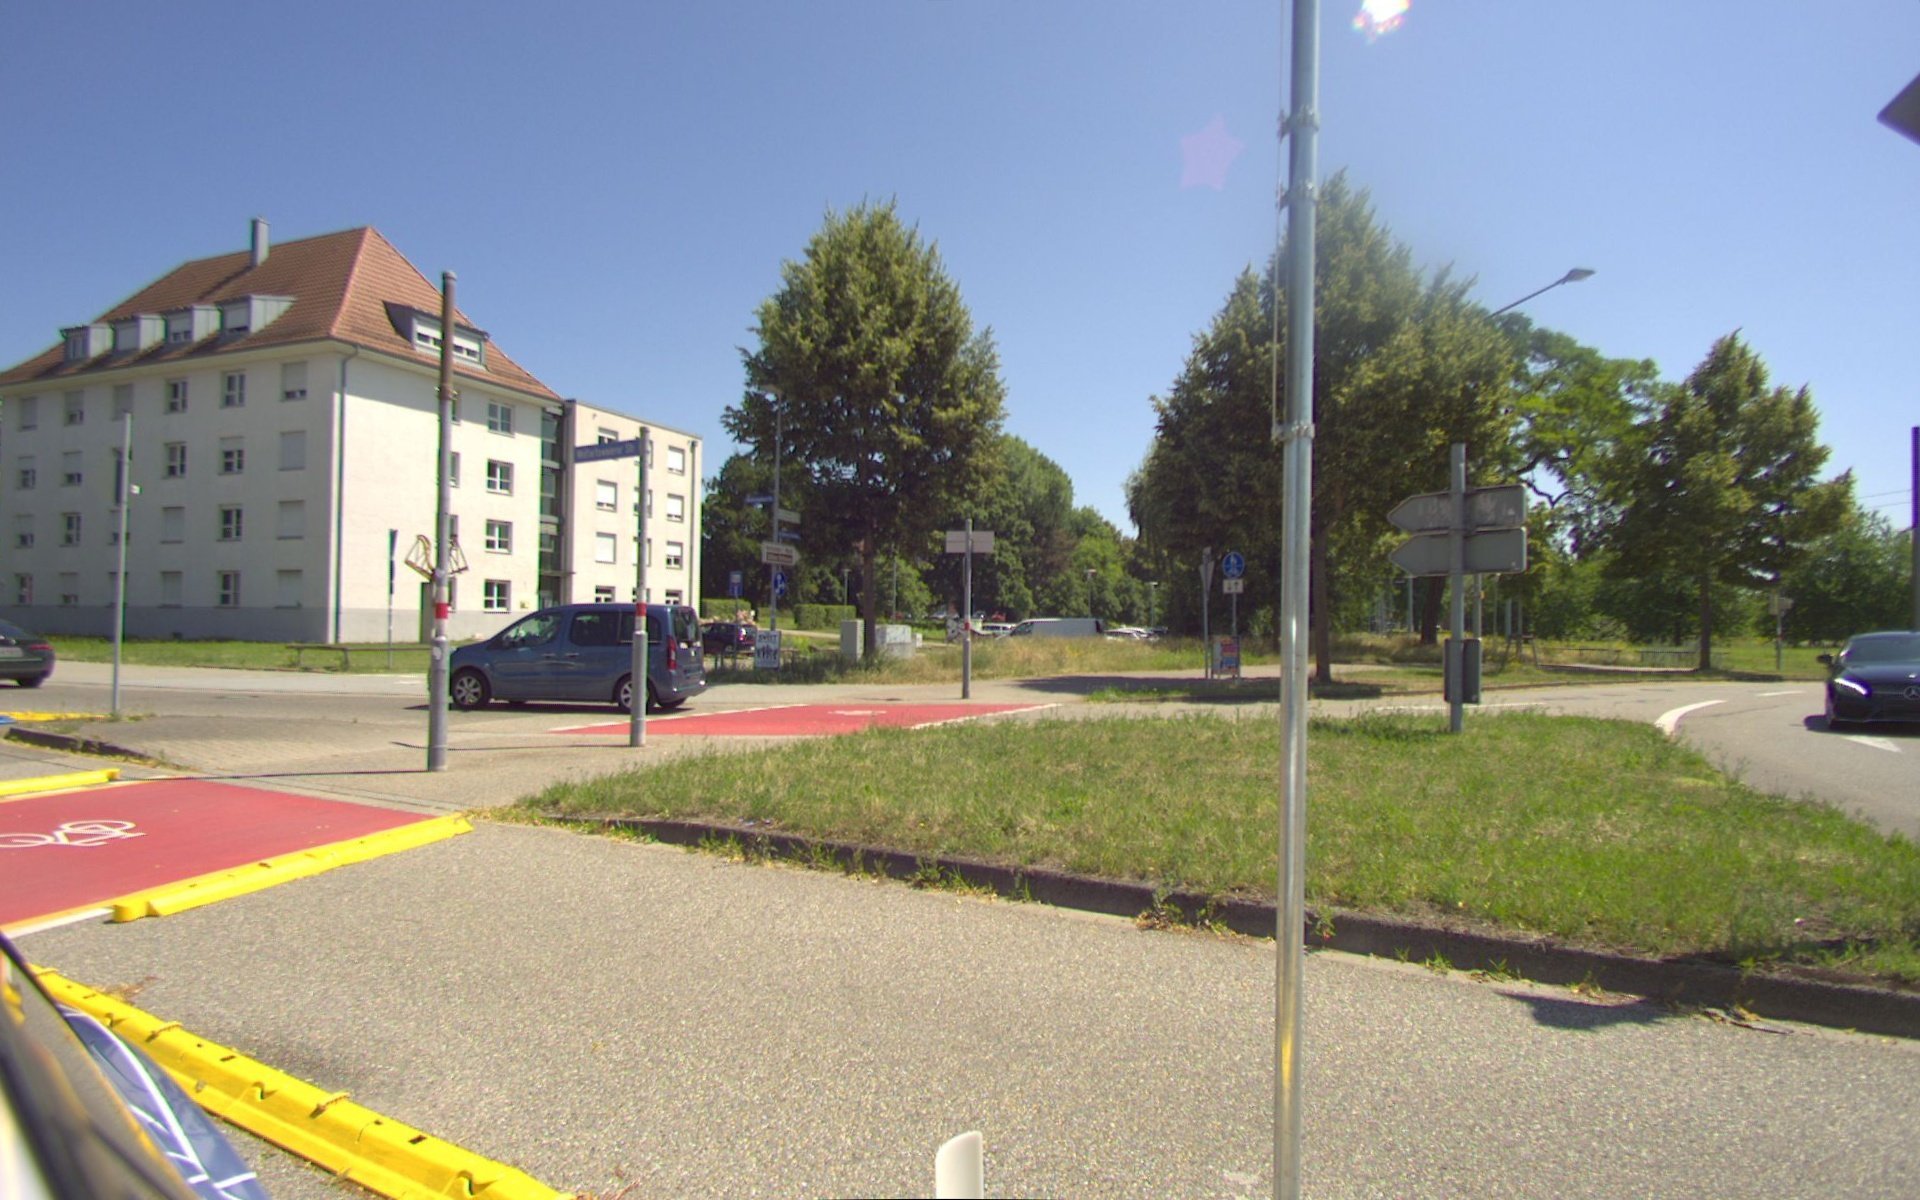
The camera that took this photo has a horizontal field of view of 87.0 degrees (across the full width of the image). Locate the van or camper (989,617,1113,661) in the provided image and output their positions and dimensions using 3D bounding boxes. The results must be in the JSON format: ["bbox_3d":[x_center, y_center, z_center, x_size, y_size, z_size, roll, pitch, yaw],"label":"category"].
[{"bbox_3d":[4.118,1.735,45.718,5.237,1.871,1.985,0,-2,22],"label":"van or camper"}]

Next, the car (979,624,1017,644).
[{"bbox_3d":[2.721,2.425,72.099,2.518,1.368,1.073,0,-2,30],"label":"car"}]

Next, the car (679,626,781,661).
[{"bbox_3d":[-9.342,1.755,41.123,3.783,1.337,1.647,0,-2,23],"label":"car"}]

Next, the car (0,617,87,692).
[{"bbox_3d":[-20.077,1.044,20.337,4.580,1.423,1.713,0,-2,18],"label":"car"}]

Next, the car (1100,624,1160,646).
[{"bbox_3d":[10.344,2.128,61.496,3.370,1.291,1.343,0,-2,30],"label":"car"}]

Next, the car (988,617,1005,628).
[{"bbox_3d":[4.905,2.992,136.289,1.467,1.427,3.010,0,-1,18],"label":"car"}]

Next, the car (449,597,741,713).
[{"bbox_3d":[-5.850,0.883,16.529,4.148,1.783,1.688,0,-3,3],"label":"car"}]

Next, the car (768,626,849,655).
[{"bbox_3d":[-6.916,1.824,46.217,3.491,1.227,1.346,0,-2,23],"label":"car"}]

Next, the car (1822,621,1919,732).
[{"bbox_3d":[14.474,1.047,14.779,4.874,1.447,1.862,1,-2,-37],"label":"car"}]
